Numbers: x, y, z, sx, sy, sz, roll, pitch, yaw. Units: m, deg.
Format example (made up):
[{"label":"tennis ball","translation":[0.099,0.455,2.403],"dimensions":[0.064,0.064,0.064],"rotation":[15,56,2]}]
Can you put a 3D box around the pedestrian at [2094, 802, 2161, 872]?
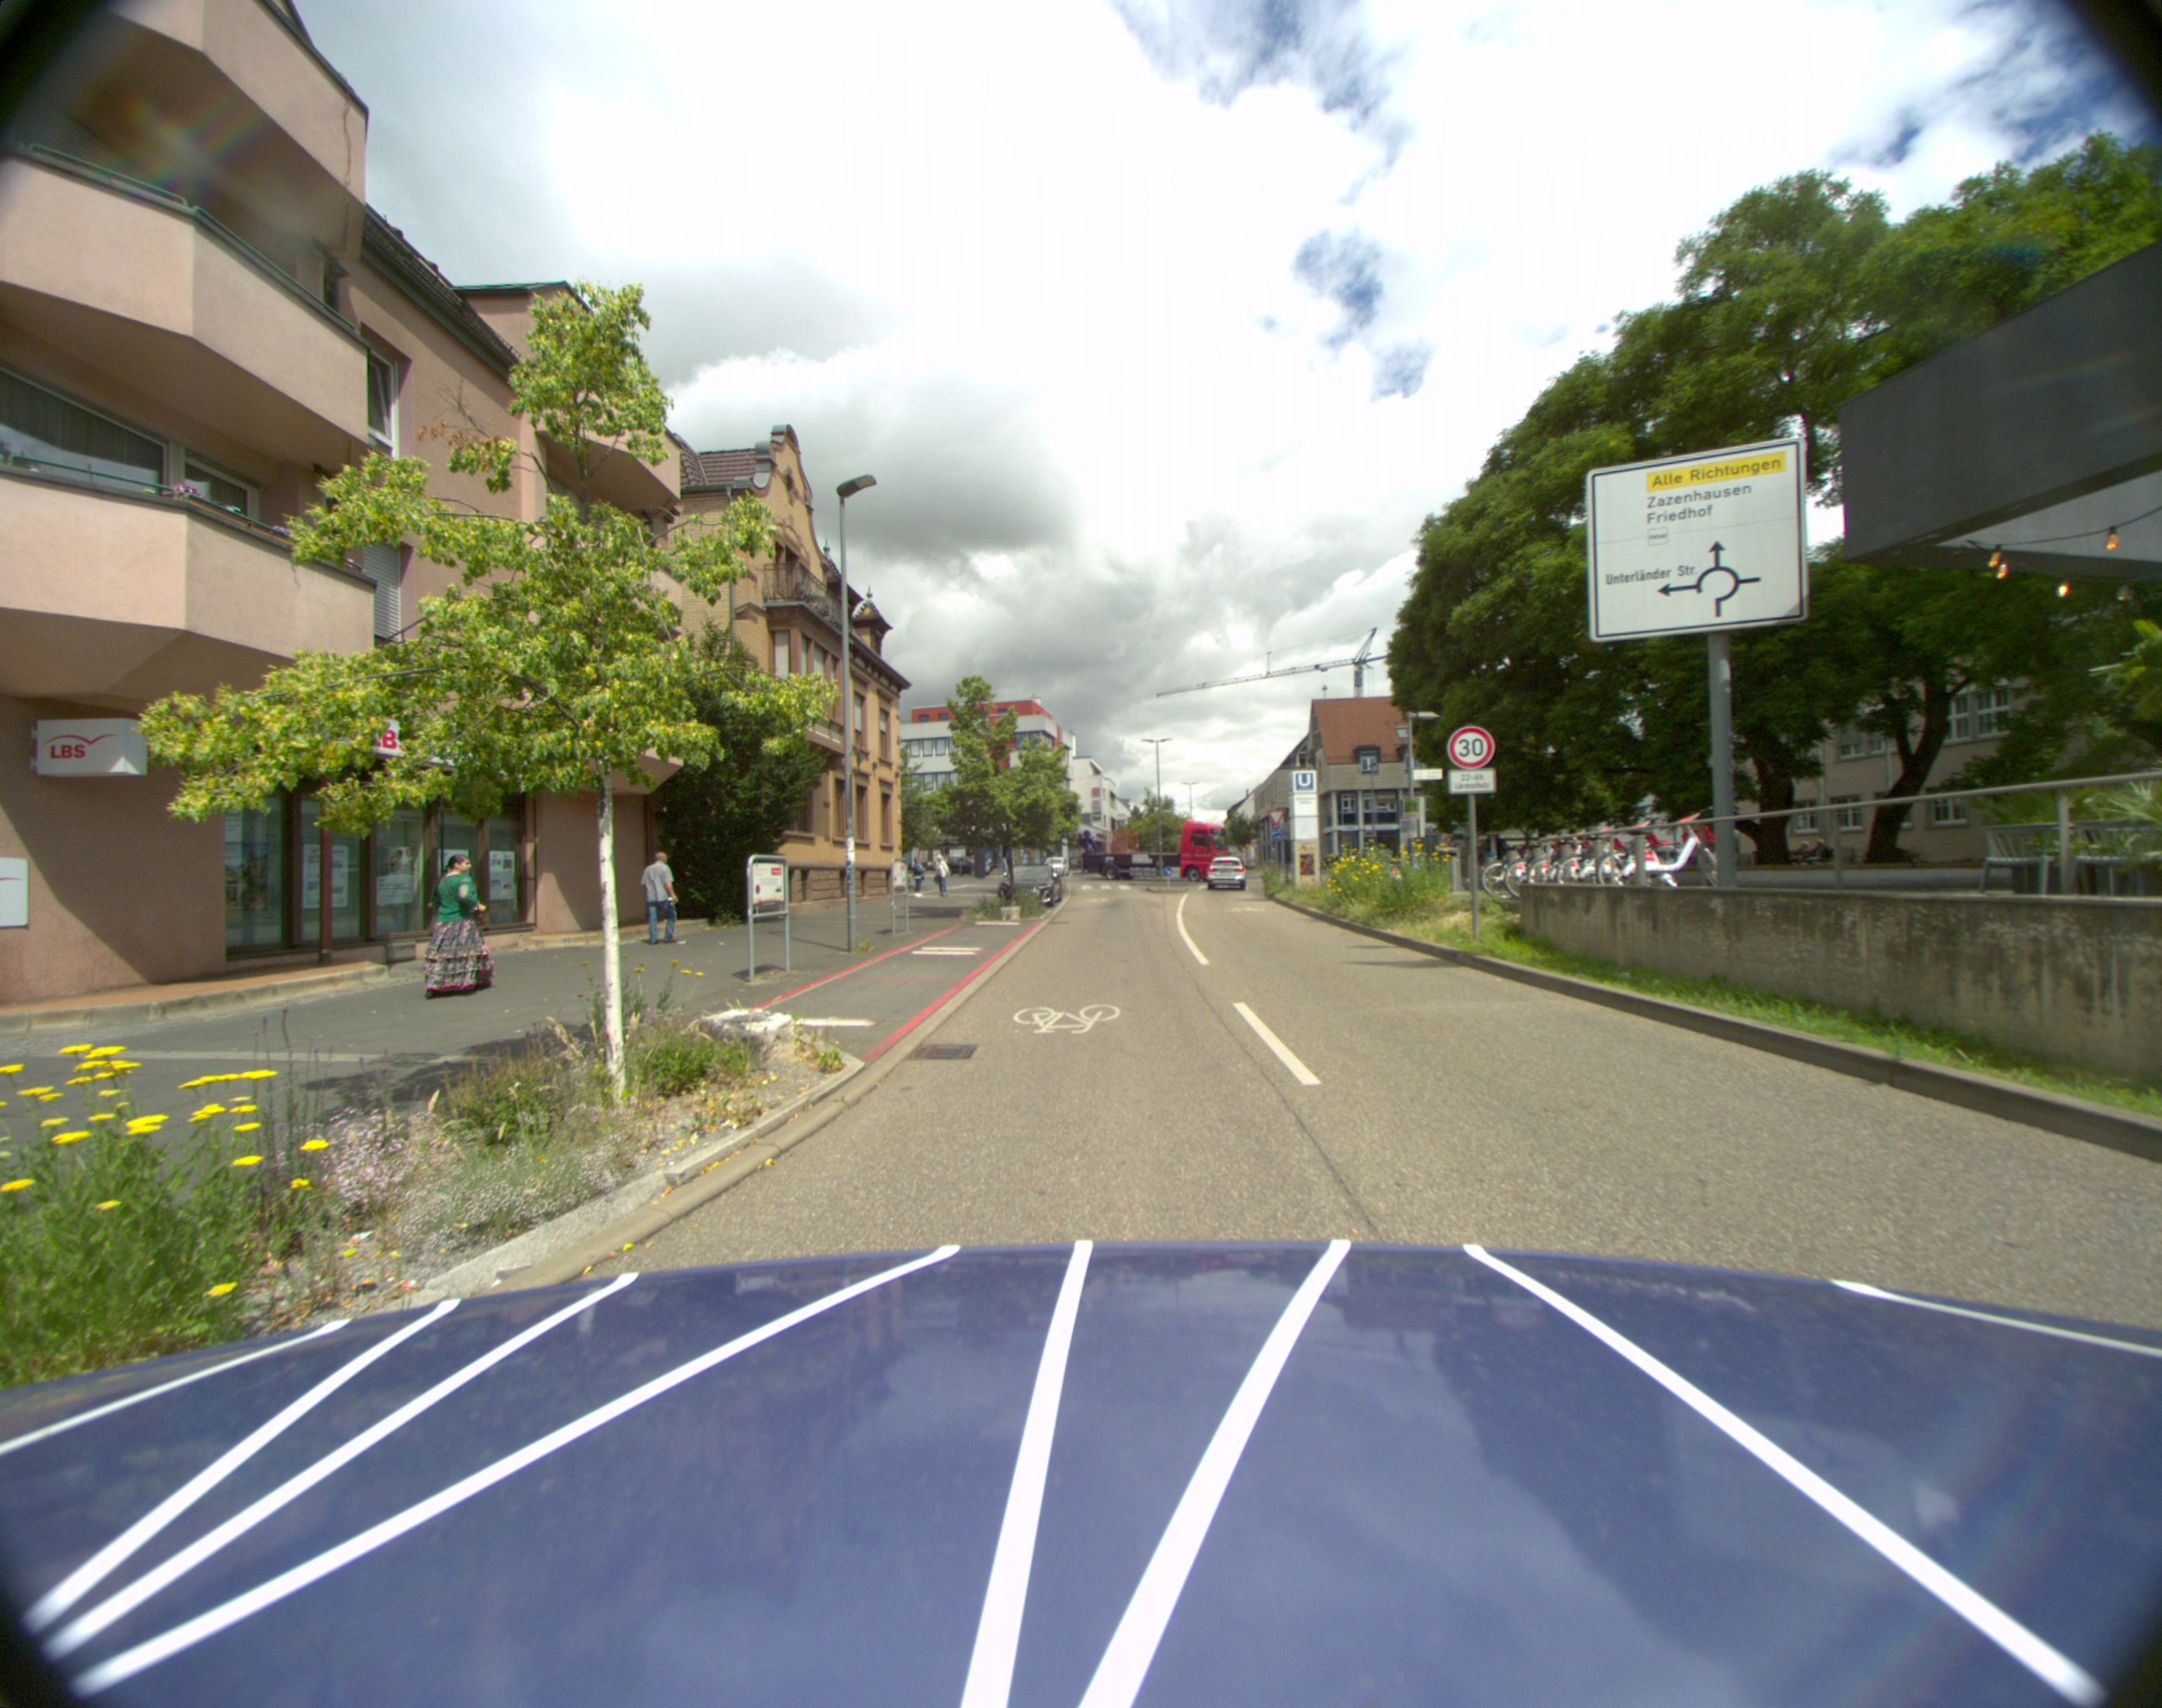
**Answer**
[{"label":"pedestrian","translation":[28.530,-0.434,20.663],"dimensions":[0.661,1.839,0.878],"rotation":[-2,-1,4]}]

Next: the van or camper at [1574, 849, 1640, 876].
[{"label":"van or camper","translation":[48.696,0.801,70.487],"dimensions":[2.002,2.368,4.668],"rotation":[-2,0,-21]}]

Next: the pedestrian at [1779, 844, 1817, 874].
[{"label":"pedestrian","translation":[29.448,0.216,31.216],"dimensions":[0.816,1.218,0.691],"rotation":[-2,-1,-1]}]

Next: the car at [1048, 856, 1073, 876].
[{"label":"car","translation":[-1.614,0.904,59.278],"dimensions":[1.815,1.391,4.052],"rotation":[-3,1,-1]}]

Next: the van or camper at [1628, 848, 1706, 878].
[{"label":"van or camper","translation":[48.521,0.777,63.036],"dimensions":[2.002,2.368,4.668],"rotation":[-2,0,-21]}]

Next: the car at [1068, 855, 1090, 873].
[{"label":"car","translation":[-0.154,0.911,70.808],"dimensions":[1.803,1.571,4.000],"rotation":[-2,1,2]}]

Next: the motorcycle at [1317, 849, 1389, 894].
[{"label":"motorcycle","translation":[9.176,0.583,25.643],"dimensions":[2.194,1.441,0.648],"rotation":[-1,1,2]}]

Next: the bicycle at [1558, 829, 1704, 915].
[{"label":"bicycle","translation":[7.471,0.250,10.365],"dimensions":[1.550,1.120,0.534],"rotation":[-1,0,3]}]

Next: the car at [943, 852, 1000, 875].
[{"label":"car","translation":[-8.755,0.723,60.747],"dimensions":[3.994,1.641,2.001],"rotation":[-3,0,9]}]

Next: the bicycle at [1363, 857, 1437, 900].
[{"label":"bicycle","translation":[8.281,0.639,19.741],"dimensions":[1.690,1.074,0.515],"rotation":[-1,-2,-1]}]

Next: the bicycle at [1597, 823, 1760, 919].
[{"label":"bicycle","translation":[7.362,0.209,9.408],"dimensions":[1.550,1.120,0.534],"rotation":[-1,0,3]}]

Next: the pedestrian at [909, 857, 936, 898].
[{"label":"pedestrian","translation":[-6.526,0.955,31.277],"dimensions":[0.738,1.630,0.676],"rotation":[-2,1,28]}]

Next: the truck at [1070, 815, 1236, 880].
[{"label":"truck","translation":[4.513,-0.301,49.960],"dimensions":[10.818,3.821,2.687],"rotation":[-2,1,36]}]

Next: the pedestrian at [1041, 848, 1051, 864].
[{"label":"pedestrian","translation":[-3.384,0.191,73.437],"dimensions":[0.684,1.585,0.767],"rotation":[-2,1,12]}]

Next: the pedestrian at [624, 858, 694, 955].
[{"label":"pedestrian","translation":[-7.681,0.930,13.874],"dimensions":[0.718,1.676,0.944],"rotation":[0,1,-1]}]

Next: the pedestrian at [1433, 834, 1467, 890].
[{"label":"pedestrian","translation":[10.988,0.236,22.625],"dimensions":[0.661,1.619,0.800],"rotation":[-2,-1,11]}]

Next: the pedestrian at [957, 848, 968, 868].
[{"label":"pedestrian","translation":[-11.539,0.383,73.996],"dimensions":[0.684,1.902,0.767],"rotation":[-2,1,12]}]

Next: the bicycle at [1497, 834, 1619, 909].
[{"label":"bicycle","translation":[7.477,0.275,11.944],"dimensions":[1.550,1.120,0.534],"rotation":[-1,0,3]}]

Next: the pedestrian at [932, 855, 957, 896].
[{"label":"pedestrian","translation":[-5.648,0.884,31.538],"dimensions":[0.696,1.649,0.741],"rotation":[-2,1,14]}]

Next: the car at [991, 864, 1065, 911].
[{"label":"car","translation":[-1.759,1.115,26.943],"dimensions":[1.998,1.405,4.737],"rotation":[-1,0,3]}]

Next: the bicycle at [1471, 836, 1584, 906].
[{"label":"bicycle","translation":[7.499,0.282,12.796],"dimensions":[1.550,1.120,0.534],"rotation":[-1,0,3]}]

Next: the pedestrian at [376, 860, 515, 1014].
[{"label":"pedestrian","translation":[-7.113,0.890,8.559],"dimensions":[0.746,1.629,0.927],"rotation":[1,-1,2]}]

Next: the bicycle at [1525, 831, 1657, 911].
[{"label":"bicycle","translation":[7.469,0.246,11.166],"dimensions":[1.550,1.120,0.534],"rotation":[-1,0,3]}]

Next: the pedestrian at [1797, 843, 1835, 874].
[{"label":"pedestrian","translation":[29.445,0.188,30.443],"dimensions":[0.816,1.218,0.691],"rotation":[-2,-1,-1]}]

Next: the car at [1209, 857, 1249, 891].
[{"label":"car","translation":[7.436,0.964,37.938],"dimensions":[1.825,1.575,4.169],"rotation":[0,0,12]}]

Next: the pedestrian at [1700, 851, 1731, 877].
[{"label":"pedestrian","translation":[29.429,0.455,35.239],"dimensions":[0.816,1.168,0.691],"rotation":[-2,-1,-1]}]

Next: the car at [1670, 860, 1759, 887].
[{"label":"car","translation":[40.651,1.239,48.848],"dimensions":[4.069,1.530,1.748],"rotation":[-2,1,11]}]
